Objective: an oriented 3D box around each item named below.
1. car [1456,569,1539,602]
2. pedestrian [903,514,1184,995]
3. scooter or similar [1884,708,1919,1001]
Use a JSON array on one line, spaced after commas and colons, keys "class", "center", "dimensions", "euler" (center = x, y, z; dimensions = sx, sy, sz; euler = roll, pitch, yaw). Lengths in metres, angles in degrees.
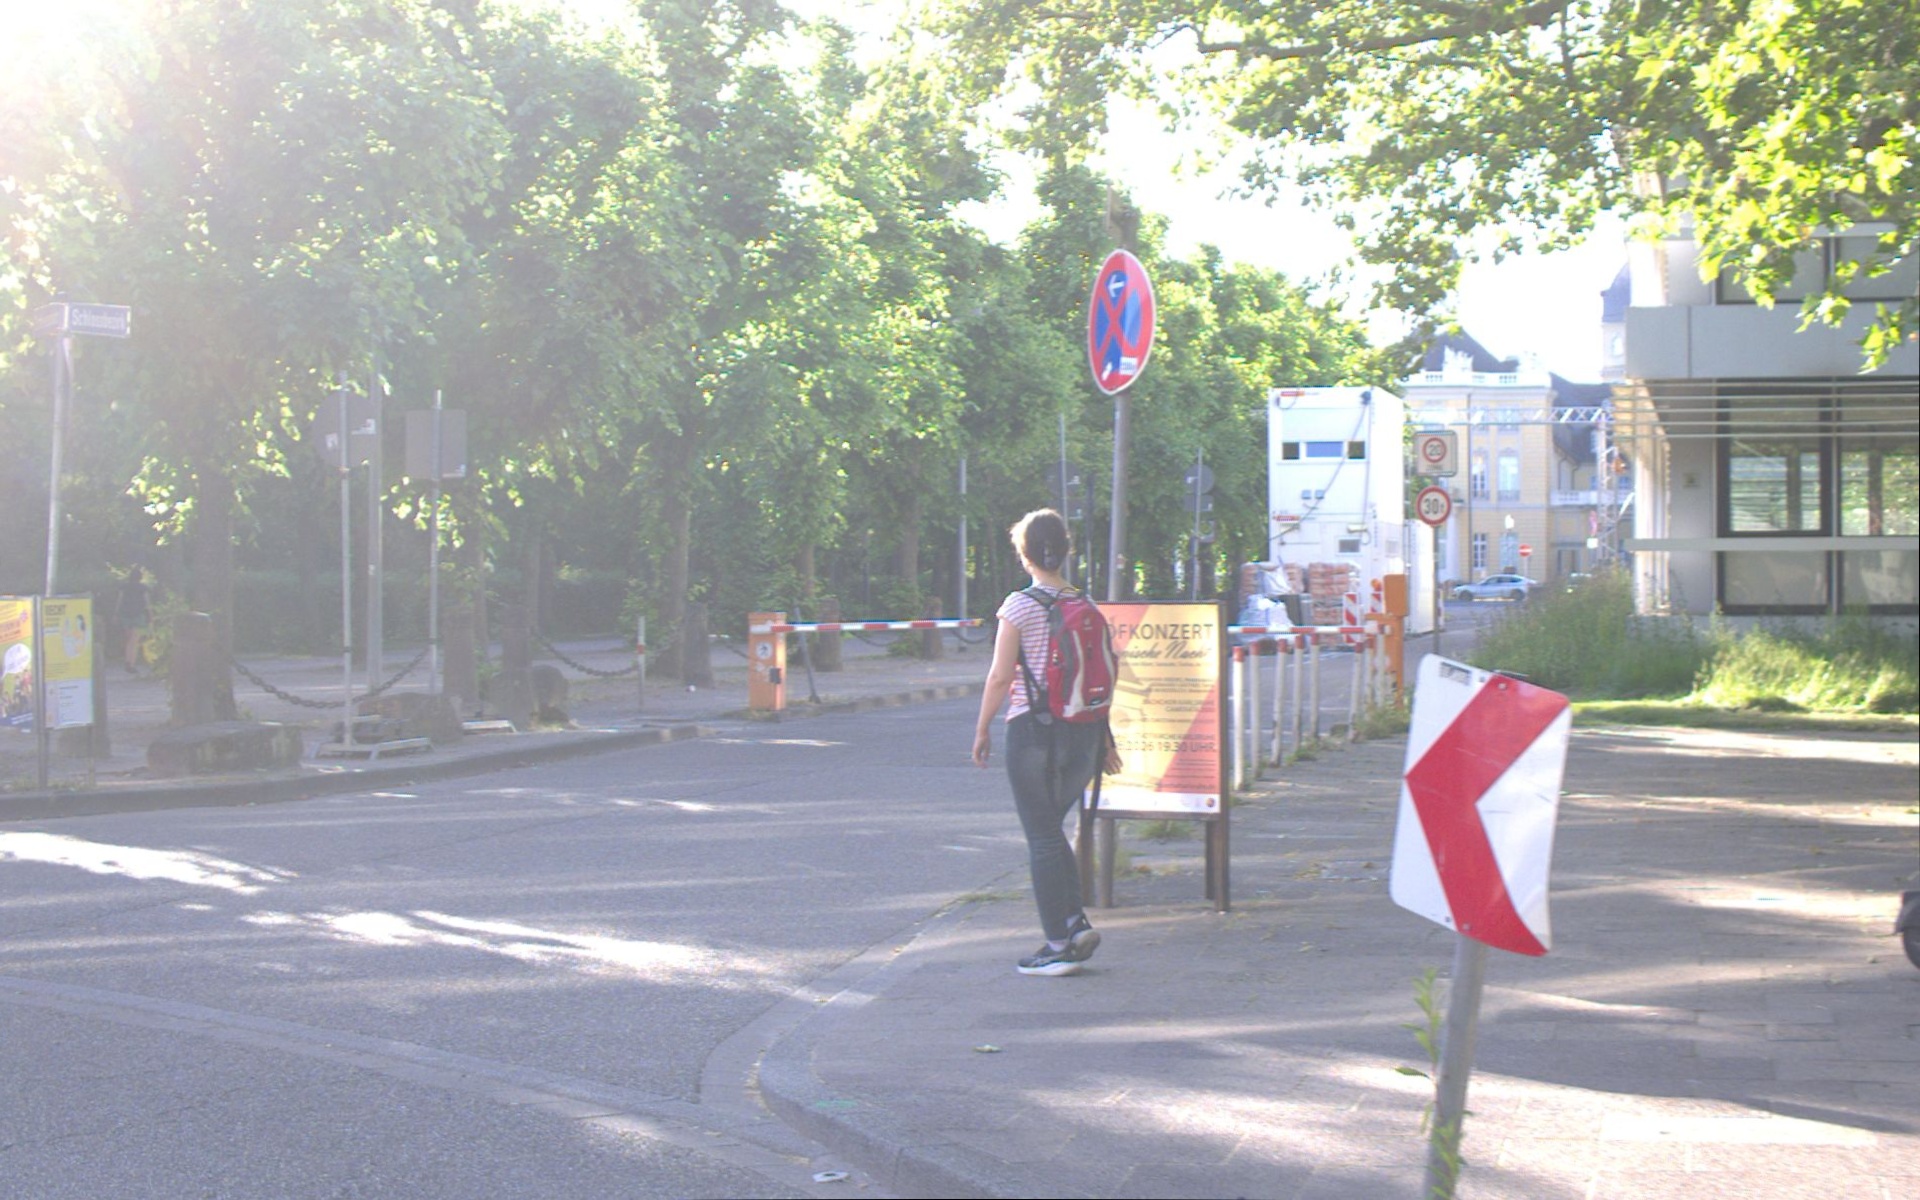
[{"class": "car", "center": [30.664, -0.842, 196.171], "dimensions": [4.559, 1.784, 1.999], "euler": [1, 1, 11]}, {"class": "pedestrian", "center": [0.281, 0.518, 12.110], "dimensions": [0.708, 1.618, 0.939], "euler": [0, 0, -19]}, {"class": "scooter or similar", "center": [3.593, 0.794, 11.001], "dimensions": [1.147, 0.911, 0.419], "euler": [-2, -1, 5]}]
